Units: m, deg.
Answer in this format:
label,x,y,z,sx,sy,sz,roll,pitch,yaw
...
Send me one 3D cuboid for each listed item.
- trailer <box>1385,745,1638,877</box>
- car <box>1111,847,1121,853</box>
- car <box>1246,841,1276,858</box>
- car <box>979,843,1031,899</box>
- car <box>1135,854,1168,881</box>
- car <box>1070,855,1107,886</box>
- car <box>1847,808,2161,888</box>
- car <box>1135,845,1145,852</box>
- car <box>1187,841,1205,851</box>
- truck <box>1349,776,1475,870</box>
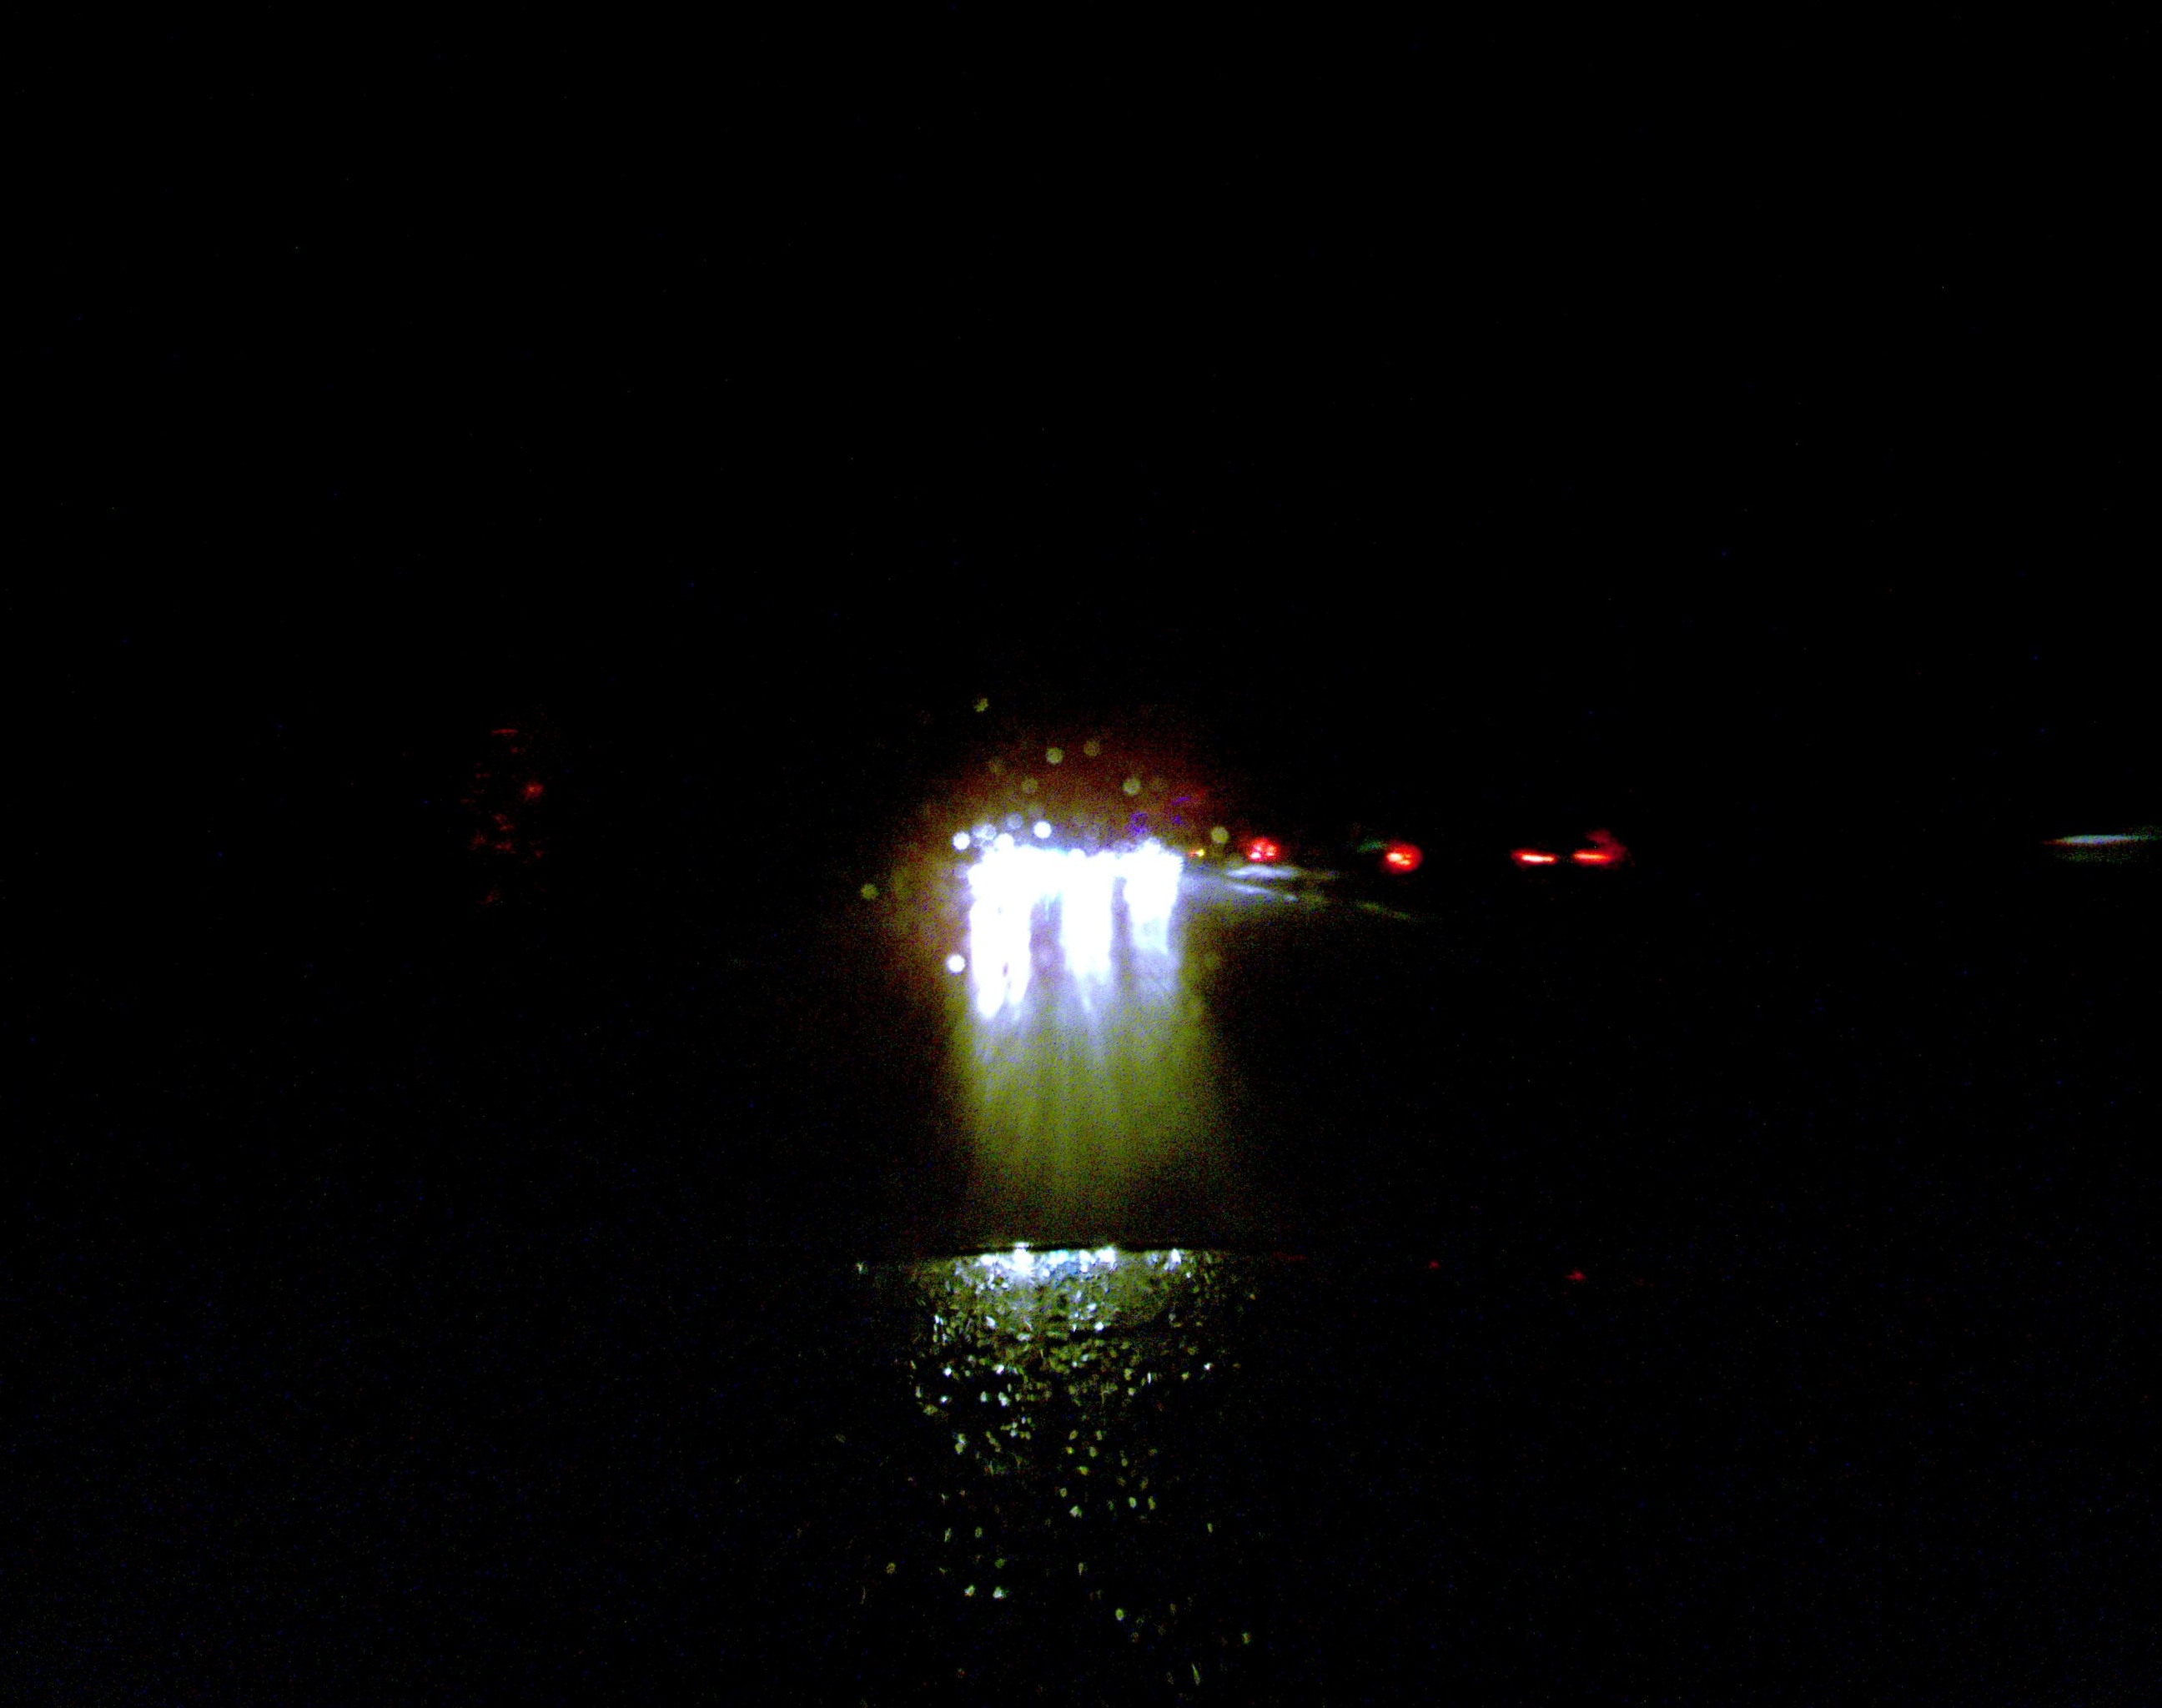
label,x,y,z,sx,sy,sz,roll,pitch,yaw
trailer,16.410,-1.433,30.671,3.363,4.149,11.719,-3,0,0
car,8.585,-0.992,184.656,1.999,1.488,3.998,-2,1,-3
car,16.299,-0.421,68.869,1.710,1.488,3.717,-2,1,-2
car,-3.049,0.663,31.133,1.754,2.092,4.463,-1,0,-1
car,4.332,0.800,47.021,1.654,1.566,3.849,-1,-1,0
car,0.374,0.877,42.745,1.848,1.532,3.998,-2,1,-2
car,18.971,-0.135,15.771,1.844,1.386,4.166,-2,1,-3
car,12.273,-1.129,157.996,1.681,1.488,3.751,-2,1,-3
car,17.409,-1.216,115.340,1.999,1.488,3.999,-2,1,-1
truck,16.412,-1.445,38.304,3.373,4.149,6.463,-3,0,0
